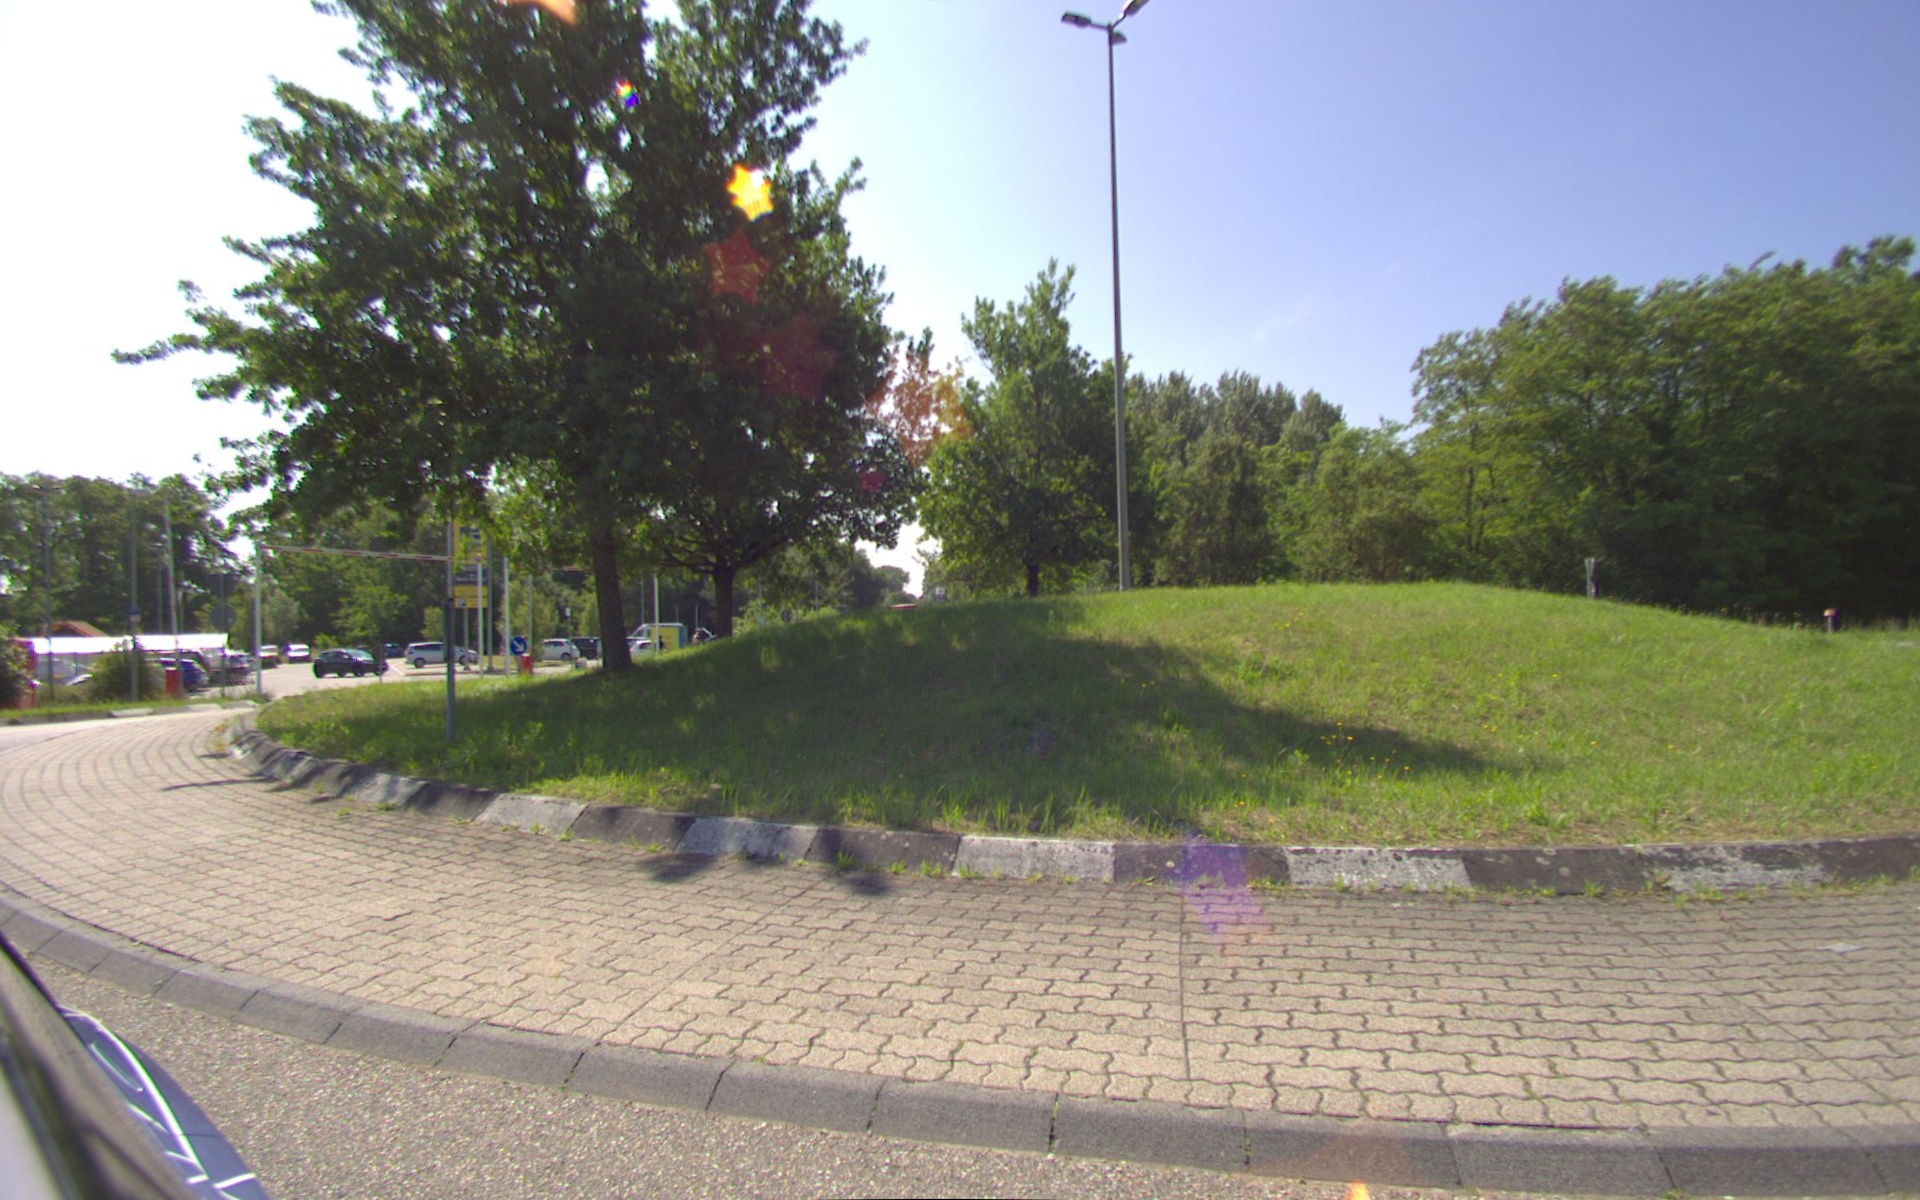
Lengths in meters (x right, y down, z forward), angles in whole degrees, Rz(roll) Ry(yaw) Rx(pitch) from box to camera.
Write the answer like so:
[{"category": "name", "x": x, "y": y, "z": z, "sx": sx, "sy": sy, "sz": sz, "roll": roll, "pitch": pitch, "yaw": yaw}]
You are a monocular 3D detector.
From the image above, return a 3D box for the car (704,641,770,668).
[{"category": "car", "x": -15.052, "y": 3.684, "z": 68.498, "sx": 4.072, "sy": 1.640, "sz": 1.753, "roll": -2, "pitch": -2, "yaw": -2}]

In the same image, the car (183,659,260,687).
[{"category": "car", "x": -50.464, "y": 4.991, "z": 69.244, "sx": 3.931, "sy": 1.674, "sz": 2.006, "roll": -1, "pitch": -3, "yaw": -25}]

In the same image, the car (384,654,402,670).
[{"category": "car", "x": -58.194, "y": 6.345, "z": 103.830, "sx": 1.634, "sy": 1.497, "sz": 4.386, "roll": 0, "pitch": -3, "yaw": -30}]

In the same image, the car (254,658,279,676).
[{"category": "car", "x": -67.086, "y": 6.451, "z": 97.958, "sx": 1.765, "sy": 1.608, "sz": 4.273, "roll": 0, "pitch": -3, "yaw": -31}]

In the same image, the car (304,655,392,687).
[{"category": "car", "x": -34.305, "y": 3.980, "z": 56.774, "sx": 3.943, "sy": 1.601, "sz": 1.661, "roll": -2, "pitch": -2, "yaw": 0}]

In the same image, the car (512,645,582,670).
[{"category": "car", "x": -27.107, "y": 3.778, "z": 66.540, "sx": 3.940, "sy": 1.453, "sz": 1.652, "roll": -2, "pitch": -2, "yaw": -4}]

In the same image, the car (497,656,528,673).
[{"category": "car", "x": -43.150, "y": 6.200, "z": 97.483, "sx": 1.966, "sy": 1.477, "sz": 4.506, "roll": 0, "pitch": -3, "yaw": -34}]

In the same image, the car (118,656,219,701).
[{"category": "car", "x": -37.511, "y": 3.695, "z": 48.056, "sx": 3.432, "sy": 1.943, "sz": 1.885, "roll": -1, "pitch": -3, "yaw": -23}]

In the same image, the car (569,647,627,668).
[{"category": "car", "x": -27.528, "y": 4.365, "z": 77.109, "sx": 3.935, "sy": 1.438, "sz": 1.753, "roll": -1, "pitch": -2, "yaw": -10}]

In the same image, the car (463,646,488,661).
[{"category": "car", "x": -51.836, "y": 5.747, "z": 108.236, "sx": 2.036, "sy": 1.497, "sz": 4.012, "roll": -1, "pitch": -2, "yaw": -30}]

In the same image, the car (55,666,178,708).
[{"category": "car", "x": -33.672, "y": 3.459, "z": 40.512, "sx": 3.432, "sy": 1.469, "sz": 1.722, "roll": -1, "pitch": -3, "yaw": -23}]

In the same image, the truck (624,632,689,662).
[{"category": "truck", "x": -28.770, "y": 4.460, "z": 96.147, "sx": 5.532, "sy": 2.625, "sz": 2.205, "roll": -1, "pitch": -2, "yaw": -4}]

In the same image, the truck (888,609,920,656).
[{"category": "truck", "x": -4.918, "y": 2.934, "z": 89.689, "sx": 2.682, "sy": 3.945, "sz": 5.953, "roll": -1, "pitch": -3, "yaw": -2}]

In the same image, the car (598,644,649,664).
[{"category": "car", "x": -28.358, "y": 4.548, "z": 85.383, "sx": 3.908, "sy": 1.464, "sz": 1.909, "roll": -1, "pitch": -2, "yaw": -14}]

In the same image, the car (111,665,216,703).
[{"category": "car", "x": -36.151, "y": 3.793, "z": 46.009, "sx": 3.432, "sy": 1.509, "sz": 1.722, "roll": -1, "pitch": -3, "yaw": -23}]

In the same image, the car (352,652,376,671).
[{"category": "car", "x": -60.506, "y": 6.217, "z": 102.814, "sx": 2.036, "sy": 1.724, "sz": 4.012, "roll": -1, "pitch": -2, "yaw": -30}]

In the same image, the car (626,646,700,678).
[{"category": "car", "x": -15.424, "y": 3.200, "z": 52.743, "sx": 3.547, "sy": 1.574, "sz": 1.818, "roll": -1, "pitch": -3, "yaw": -11}]

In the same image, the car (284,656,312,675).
[{"category": "car", "x": -64.952, "y": 6.430, "z": 99.399, "sx": 2.036, "sy": 1.724, "sz": 4.012, "roll": -1, "pitch": -2, "yaw": -30}]

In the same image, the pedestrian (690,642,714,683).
[{"category": "pedestrian", "x": -10.704, "y": 2.573, "z": 41.996, "sx": 0.701, "sy": 1.661, "sz": 0.590, "roll": -4, "pitch": -3, "yaw": 30}]

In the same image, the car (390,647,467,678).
[{"category": "car", "x": -36.124, "y": 4.208, "z": 68.819, "sx": 4.483, "sy": 1.715, "sz": 2.006, "roll": -3, "pitch": -2, "yaw": -31}]

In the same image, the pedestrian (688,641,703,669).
[{"category": "pedestrian", "x": -17.821, "y": 3.712, "z": 68.228, "sx": 0.809, "sy": 1.811, "sz": 0.867, "roll": -2, "pitch": -2, "yaw": -4}]

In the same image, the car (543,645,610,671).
[{"category": "car", "x": -27.261, "y": 4.120, "z": 72.001, "sx": 4.102, "sy": 1.586, "sz": 2.003, "roll": -2, "pitch": -2, "yaw": -6}]

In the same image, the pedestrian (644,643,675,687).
[{"category": "pedestrian", "x": -12.569, "y": 2.704, "z": 42.361, "sx": 0.876, "sy": 1.799, "sz": 0.834, "roll": -4, "pitch": -3, "yaw": 28}]

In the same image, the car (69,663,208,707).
[{"category": "car", "x": -34.998, "y": 3.606, "z": 43.272, "sx": 4.351, "sy": 1.583, "sz": 1.721, "roll": -1, "pitch": -3, "yaw": -26}]
